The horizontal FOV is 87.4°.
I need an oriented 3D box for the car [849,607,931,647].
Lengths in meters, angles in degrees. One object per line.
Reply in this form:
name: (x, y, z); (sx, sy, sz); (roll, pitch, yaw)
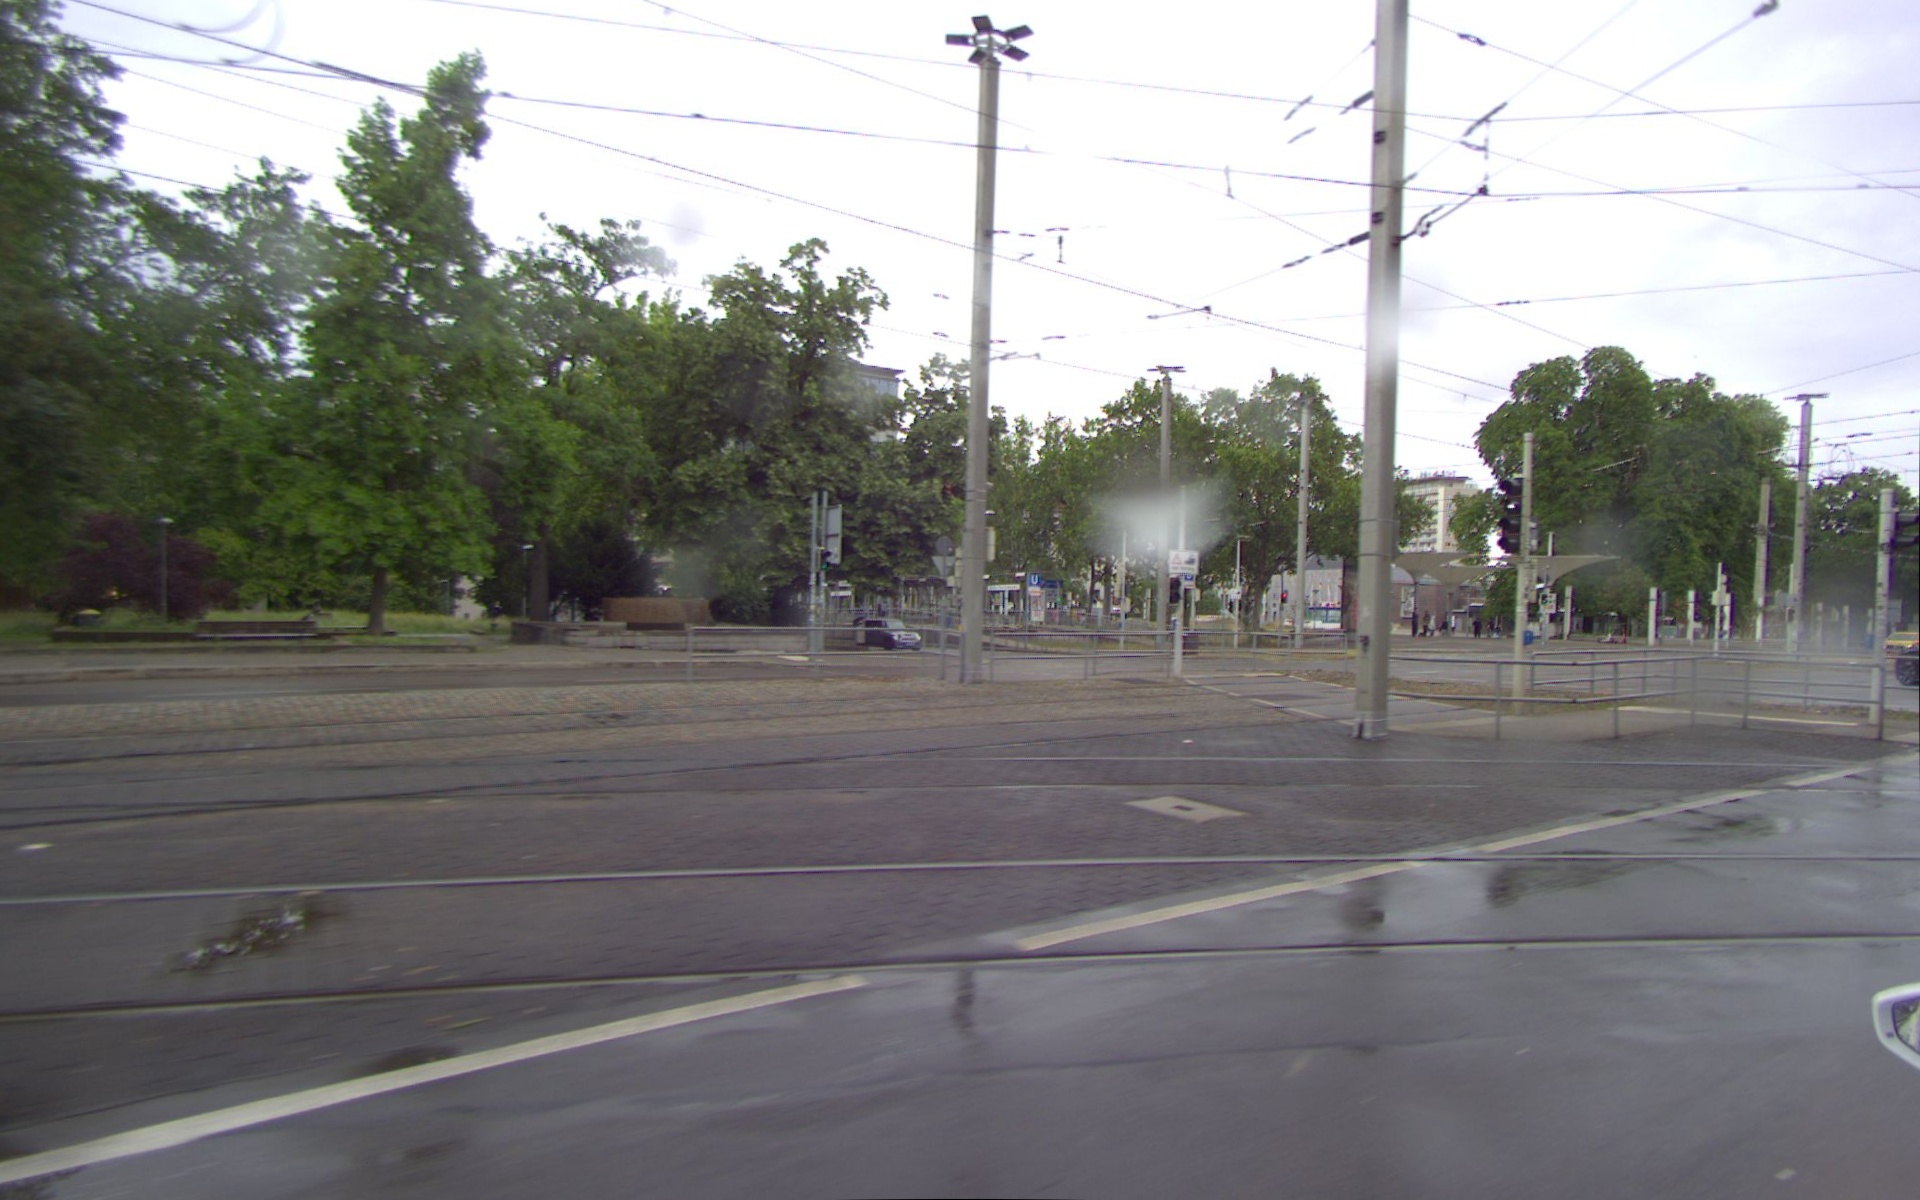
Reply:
car: (-3.198, 1.179, 45.242); (1.979, 1.728, 3.963); (0, 0, -34)

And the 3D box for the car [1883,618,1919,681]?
car: (23.865, 1.191, 23.237); (2.064, 1.526, 4.731); (0, 0, 21)

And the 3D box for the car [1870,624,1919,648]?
car: (66.733, 2.535, 71.338); (4.486, 1.667, 1.983); (1, 0, -32)
